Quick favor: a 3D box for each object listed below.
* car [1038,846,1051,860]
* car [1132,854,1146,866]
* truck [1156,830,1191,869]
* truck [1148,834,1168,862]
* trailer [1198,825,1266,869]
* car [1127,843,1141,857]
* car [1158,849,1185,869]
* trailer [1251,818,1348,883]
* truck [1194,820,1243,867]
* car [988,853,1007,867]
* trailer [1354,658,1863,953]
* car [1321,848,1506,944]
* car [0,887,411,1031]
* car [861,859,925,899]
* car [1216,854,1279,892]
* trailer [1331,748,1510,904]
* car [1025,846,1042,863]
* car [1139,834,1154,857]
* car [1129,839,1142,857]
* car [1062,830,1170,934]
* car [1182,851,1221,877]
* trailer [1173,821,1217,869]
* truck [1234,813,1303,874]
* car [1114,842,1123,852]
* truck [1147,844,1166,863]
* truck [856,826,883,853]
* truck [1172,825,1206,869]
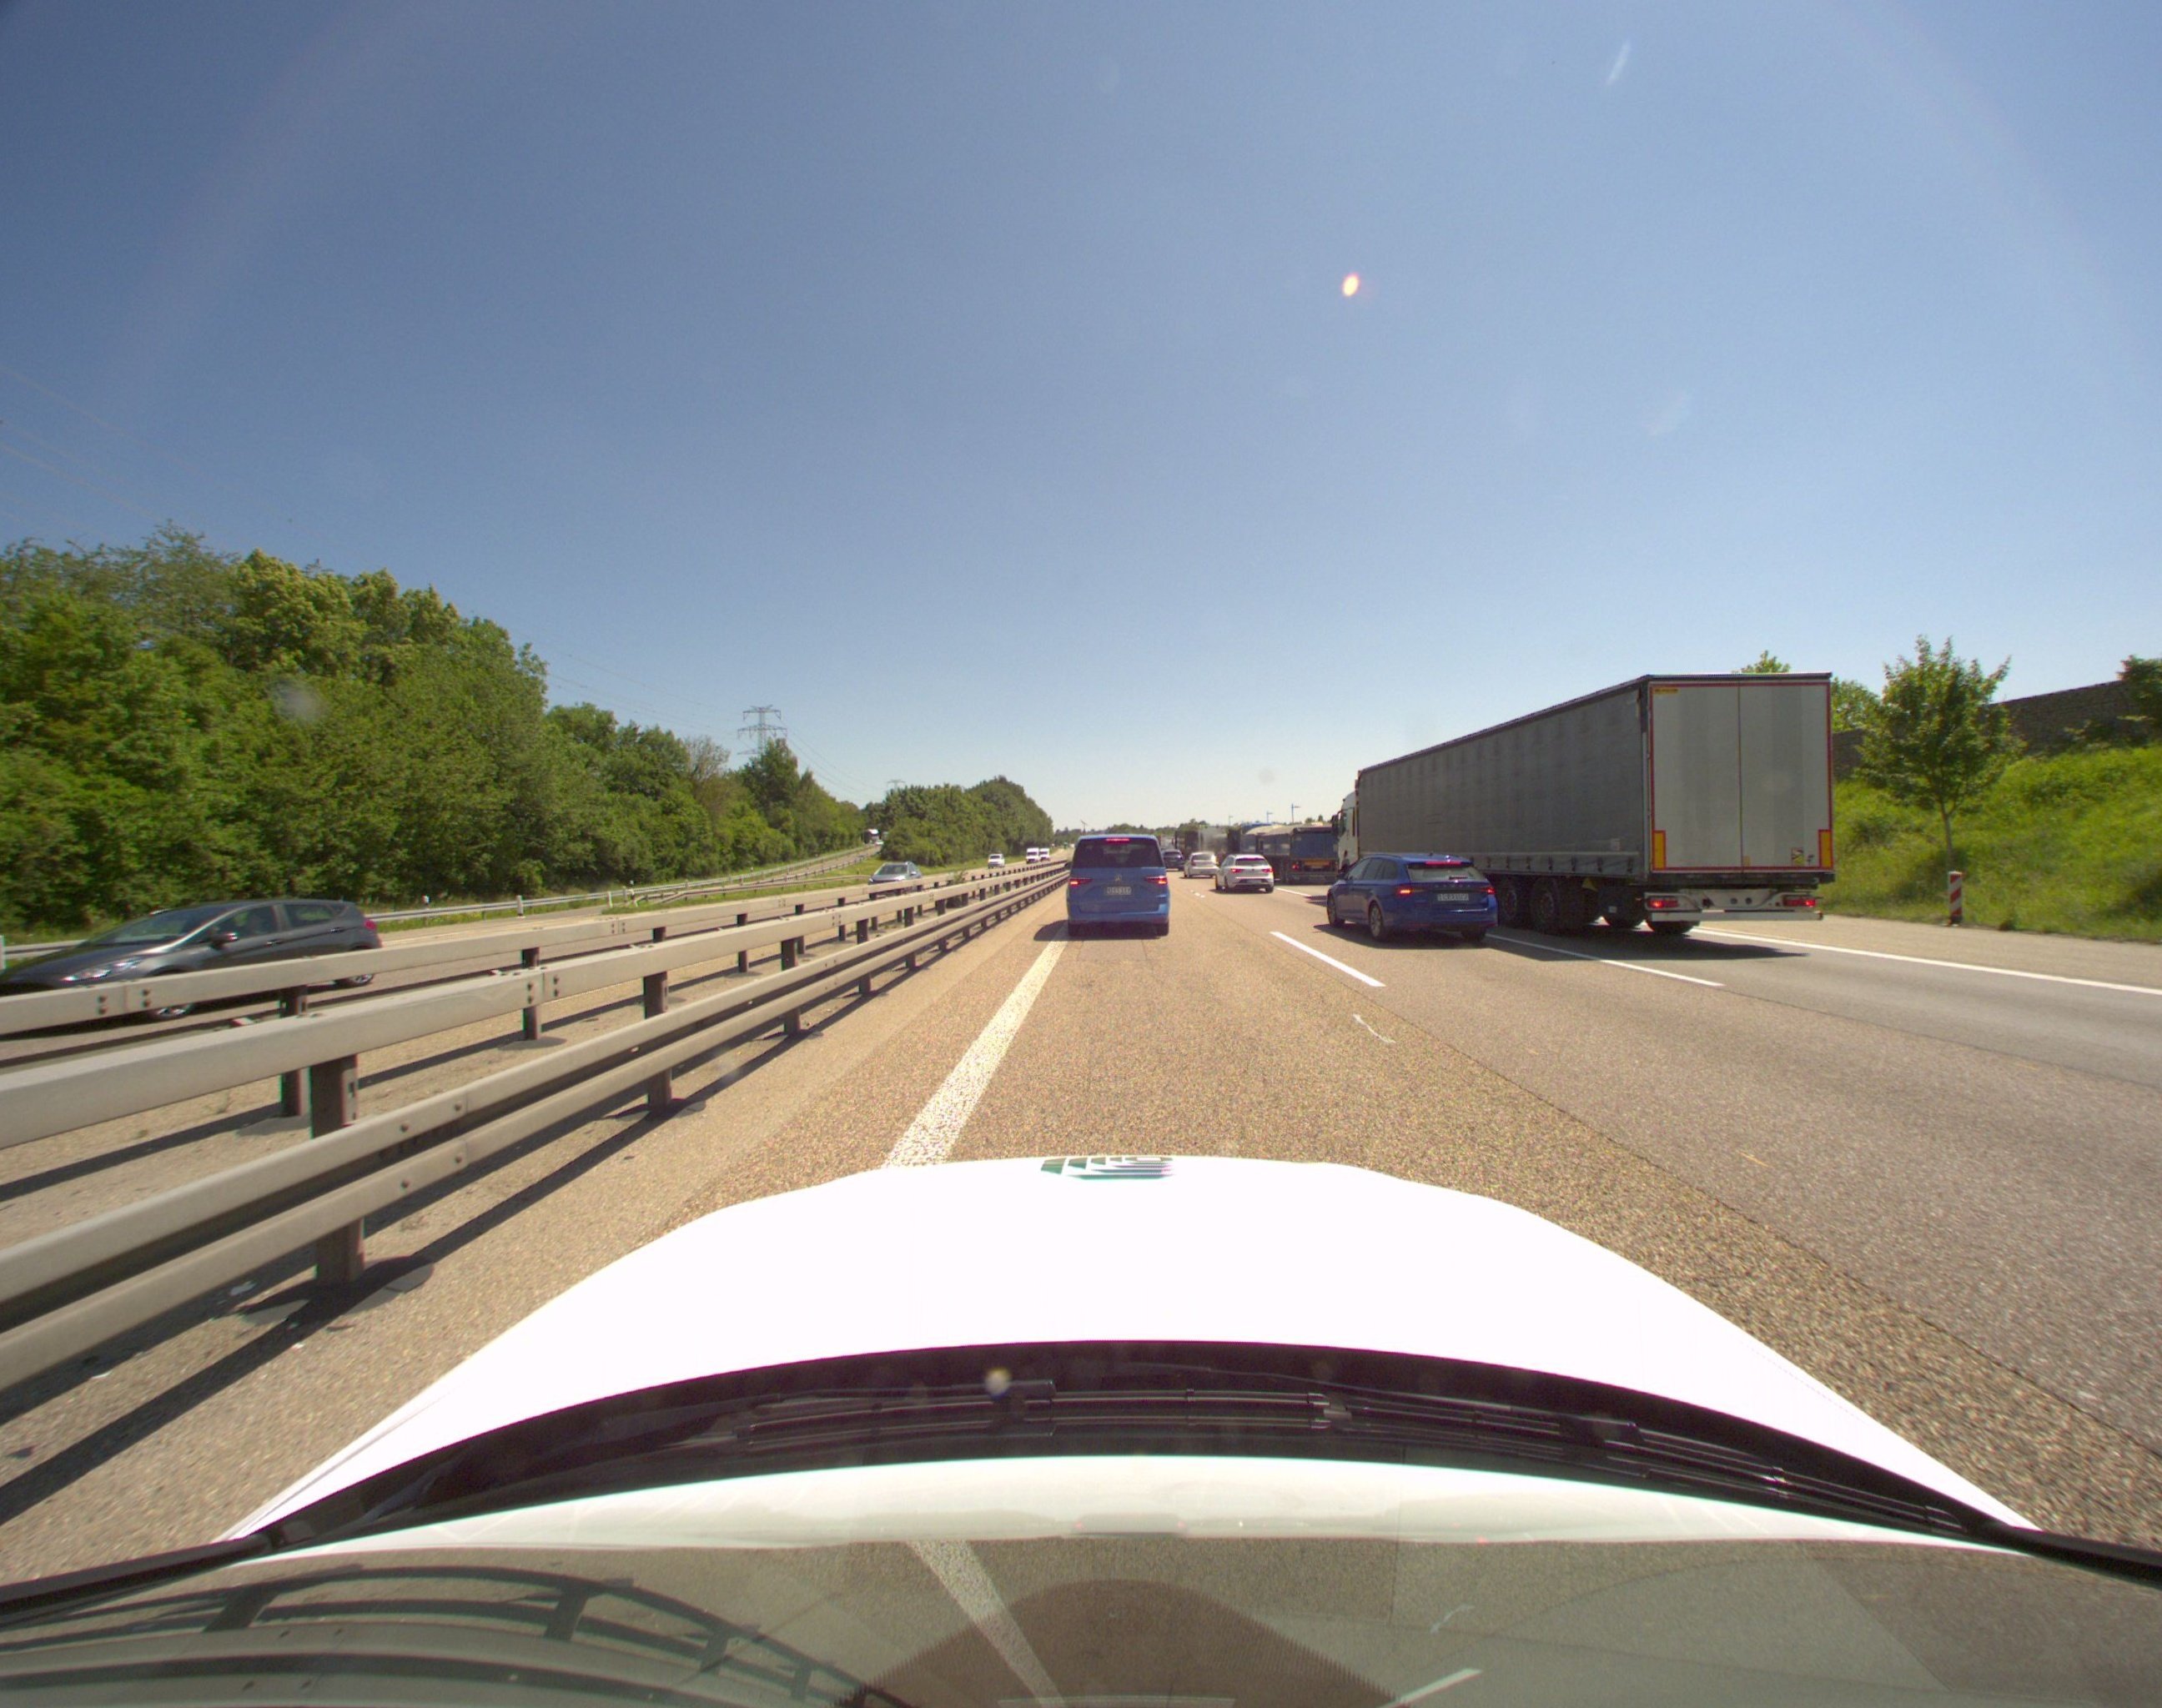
[{"bbox_3d":[-7.209,-0.117,160.846,2.148,2.594,5.892,-2,-1,2],"label":"car"},{"bbox_3d":[9.332,0.990,131.305,1.986,2.014,4.002,0,-1,2],"label":"car"},{"bbox_3d":[13.307,-0.526,118.361,3.608,5.213,15.690,0,-1,1],"label":"truck"},{"bbox_3d":[14.036,-1.068,149.636,3.056,4.920,10.695,0,-1,2],"label":"truck"},{"bbox_3d":[11.792,-0.436,65.296,3.630,3.079,15.789,0,-1,4],"label":"trailer"},{"bbox_3d":[10.292,-0.731,158.199,2.541,2.717,5.624,0,-1,2],"label":"car"},{"bbox_3d":[7.027,0.387,63.617,1.774,1.524,4.002,0,-1,2],"label":"car"},{"bbox_3d":[10.562,-0.215,40.311,2.733,2.836,9.122,0,1,3],"label":"trailer"},{"bbox_3d":[12.486,-0.859,74.509,3.611,4.094,7.530,0,-1,3],"label":"truck"},{"bbox_3d":[-11.801,0.880,115.175,1.858,1.904,5.493,-3,-1,1],"label":"car"},{"bbox_3d":[9.626,-0.678,18.197,2.950,4.049,13.760,-1,0,3],"label":"trailer"},{"bbox_3d":[5.691,0.660,14.559,1.699,1.441,4.431,0,-1,3],"label":"car"},{"bbox_3d":[-12.044,1.296,11.343,1.869,1.446,4.146,-3,-1,1],"label":"car"},{"bbox_3d":[-8.118,1.053,35.511,1.767,1.631,3.952,0,-1,1],"label":"car"},{"bbox_3d":[6.269,0.675,31.063,1.859,1.361,4.004,0,0,4],"label":"car"},{"bbox_3d":[9.899,-0.744,24.586,2.913,4.044,6.415,-1,0,2],"label":"trailer"},{"bbox_3d":[-7.621,0.120,130.329,2.045,2.651,5.841,-4,-1,1],"label":"car"},{"bbox_3d":[14.994,-1.862,187.440,3.205,5.257,8.149,0,-1,2],"label":"car"},{"bbox_3d":[16.292,-1.759,243.472,3.209,5.257,8.140,0,-1,-1],"label":"car"},{"bbox_3d":[0.743,0.516,16.374,1.893,1.838,4.004,0,-1,4],"label":"car"},{"bbox_3d":[6.975,0.581,47.407,1.833,1.454,4.002,0,-1,2],"label":"car"},{"bbox_3d":[12.936,-0.884,93.597,3.632,5.136,13.082,0,-1,2],"label":"trailer"},{"bbox_3d":[10.896,-0.609,47.961,2.733,3.311,7.137,0,1,2],"label":"truck"},{"bbox_3d":[12.089,-2.244,260.179,2.478,3.204,7.369,0,-1,-1],"label":"car"},{"bbox_3d":[7.733,-0.019,83.698,1.719,1.857,4.002,0,-1,2],"label":"truck"},{"bbox_3d":[-60.845,-4.009,233.939,4.698,7.228,13.517,0,-1,-28],"label":"truck"},{"bbox_3d":[13.154,-0.839,99.735,3.645,5.180,5.710,0,-1,1],"label":"truck"}]
